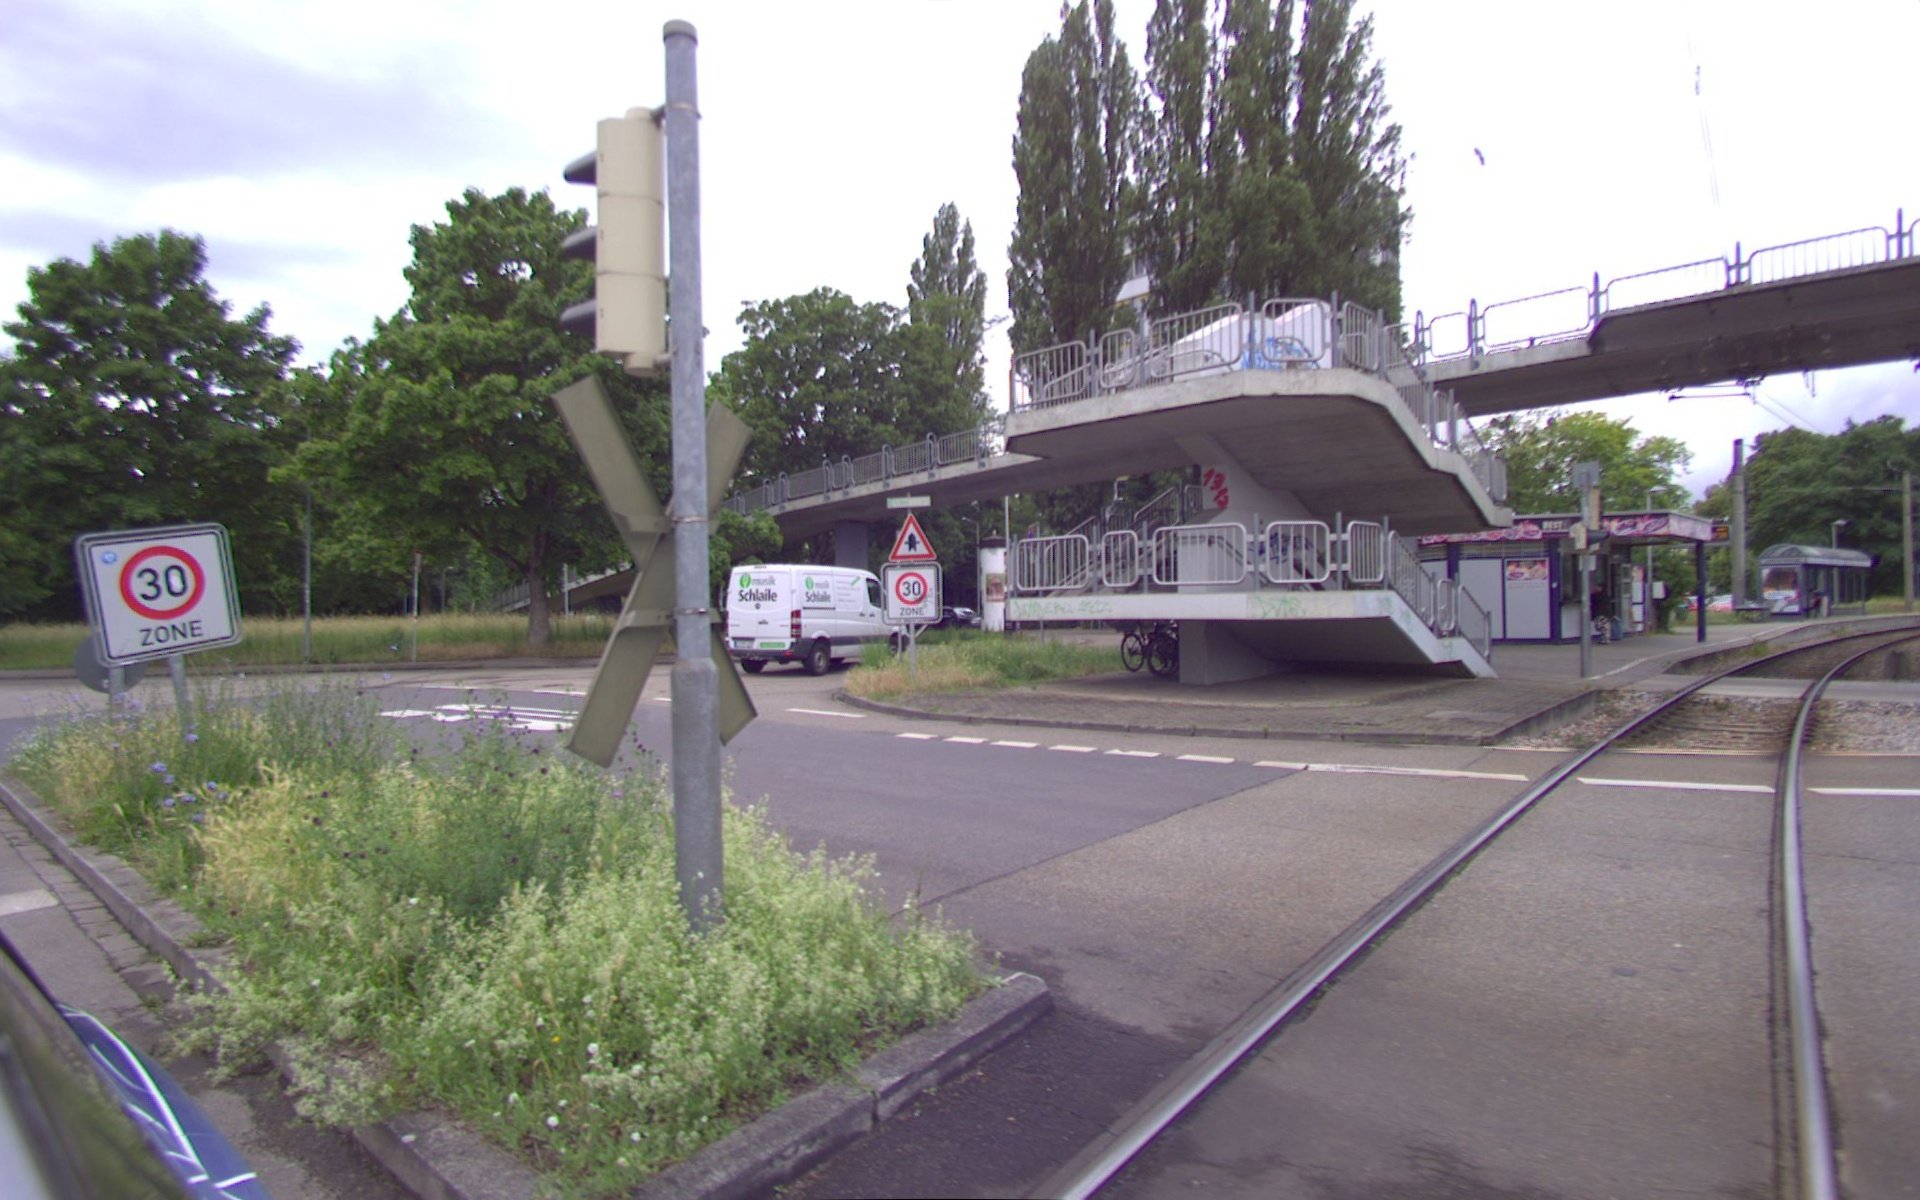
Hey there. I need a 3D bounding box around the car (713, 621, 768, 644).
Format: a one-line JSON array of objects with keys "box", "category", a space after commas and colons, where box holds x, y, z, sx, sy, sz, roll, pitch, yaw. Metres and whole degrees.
[{"box": [-13.845, 2.050, 63.640, 1.668, 1.361, 4.006, 0, -1, -41], "category": "car"}]

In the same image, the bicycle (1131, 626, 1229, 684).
[{"box": [3.697, 0.905, 16.964, 1.713, 0.892, 0.396, -1, -1, -27], "category": "bicycle"}]

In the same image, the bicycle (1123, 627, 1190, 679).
[{"box": [3.657, 0.960, 18.727, 0.394, 0.892, 1.618, -2, -1, 44], "category": "bicycle"}]

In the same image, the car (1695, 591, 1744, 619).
[{"box": [47.576, 0.296, 63.395, 3.937, 1.700, 1.642, -1, -1, -41], "category": "car"}]

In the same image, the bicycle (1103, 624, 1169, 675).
[{"box": [3.348, 0.919, 19.193, 0.394, 0.892, 1.618, -2, -1, 44], "category": "bicycle"}]

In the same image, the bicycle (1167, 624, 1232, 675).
[{"box": [4.462, 0.900, 18.802, 0.394, 0.892, 1.618, -2, -1, 44], "category": "bicycle"}]

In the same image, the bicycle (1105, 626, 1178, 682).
[{"box": [3.131, 0.913, 17.386, 0.394, 0.892, 1.618, -2, -1, 44], "category": "bicycle"}]

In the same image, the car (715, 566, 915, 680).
[{"box": [-3.148, 0.485, 23.293, 2.128, 2.309, 5.166, -1, 0, 24], "category": "car"}]

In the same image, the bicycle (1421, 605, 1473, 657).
[{"box": [11.477, 0.704, 23.816, 0.988, 1.123, 2.763, -2, -1, 27], "category": "bicycle"}]

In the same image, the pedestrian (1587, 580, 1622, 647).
[{"box": [16.256, 0.338, 25.534, 0.676, 1.677, 0.542, 0, -2, -45], "category": "pedestrian"}]
